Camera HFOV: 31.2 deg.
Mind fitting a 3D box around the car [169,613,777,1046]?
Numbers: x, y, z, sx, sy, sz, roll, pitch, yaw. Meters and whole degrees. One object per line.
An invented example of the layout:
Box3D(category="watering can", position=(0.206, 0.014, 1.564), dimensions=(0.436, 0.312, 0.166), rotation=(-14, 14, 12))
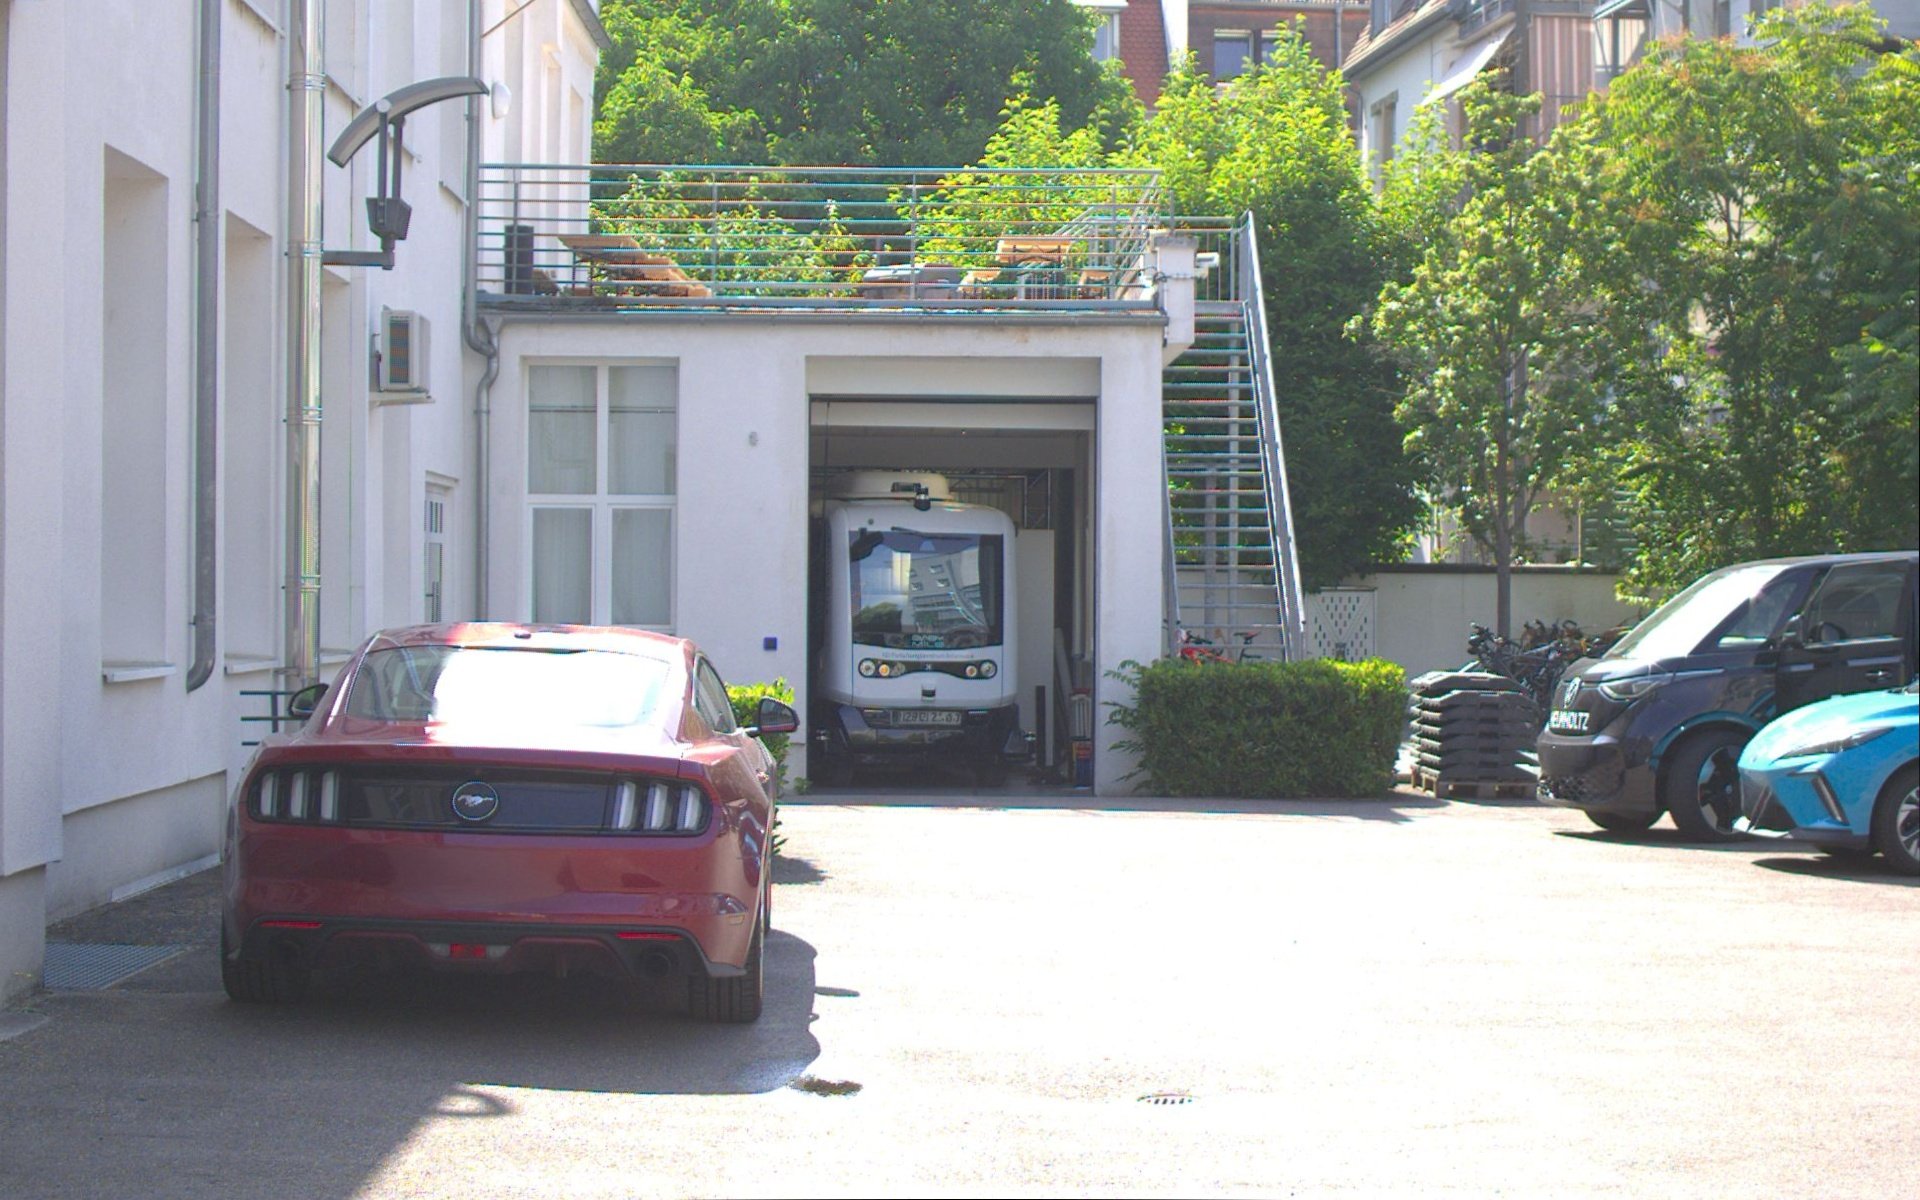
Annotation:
Box3D(category="car", position=(-1.694, 0.760, 13.219), dimensions=(1.852, 1.315, 4.000), rotation=(2, 0, -2))

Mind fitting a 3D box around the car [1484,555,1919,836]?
Box3D(category="car", position=(6.316, 0.584, 23.552), dimensions=(4.950, 1.761, 2.097), rotation=(-1, 1, -13))

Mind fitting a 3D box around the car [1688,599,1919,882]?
Box3D(category="car", position=(6.661, 0.772, 20.304), dimensions=(4.228, 1.527, 2.000), rotation=(0, 1, -4))

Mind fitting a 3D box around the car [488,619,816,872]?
Box3D(category="car", position=(-1.705, 0.781, 20.047), dimensions=(1.614, 1.291, 3.759), rotation=(0, 0, -1))

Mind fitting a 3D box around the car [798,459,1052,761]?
Box3D(category="car", position=(-0.344, 0.103, 33.058), dimensions=(2.174, 2.598, 6.734), rotation=(0, 0, -1))
